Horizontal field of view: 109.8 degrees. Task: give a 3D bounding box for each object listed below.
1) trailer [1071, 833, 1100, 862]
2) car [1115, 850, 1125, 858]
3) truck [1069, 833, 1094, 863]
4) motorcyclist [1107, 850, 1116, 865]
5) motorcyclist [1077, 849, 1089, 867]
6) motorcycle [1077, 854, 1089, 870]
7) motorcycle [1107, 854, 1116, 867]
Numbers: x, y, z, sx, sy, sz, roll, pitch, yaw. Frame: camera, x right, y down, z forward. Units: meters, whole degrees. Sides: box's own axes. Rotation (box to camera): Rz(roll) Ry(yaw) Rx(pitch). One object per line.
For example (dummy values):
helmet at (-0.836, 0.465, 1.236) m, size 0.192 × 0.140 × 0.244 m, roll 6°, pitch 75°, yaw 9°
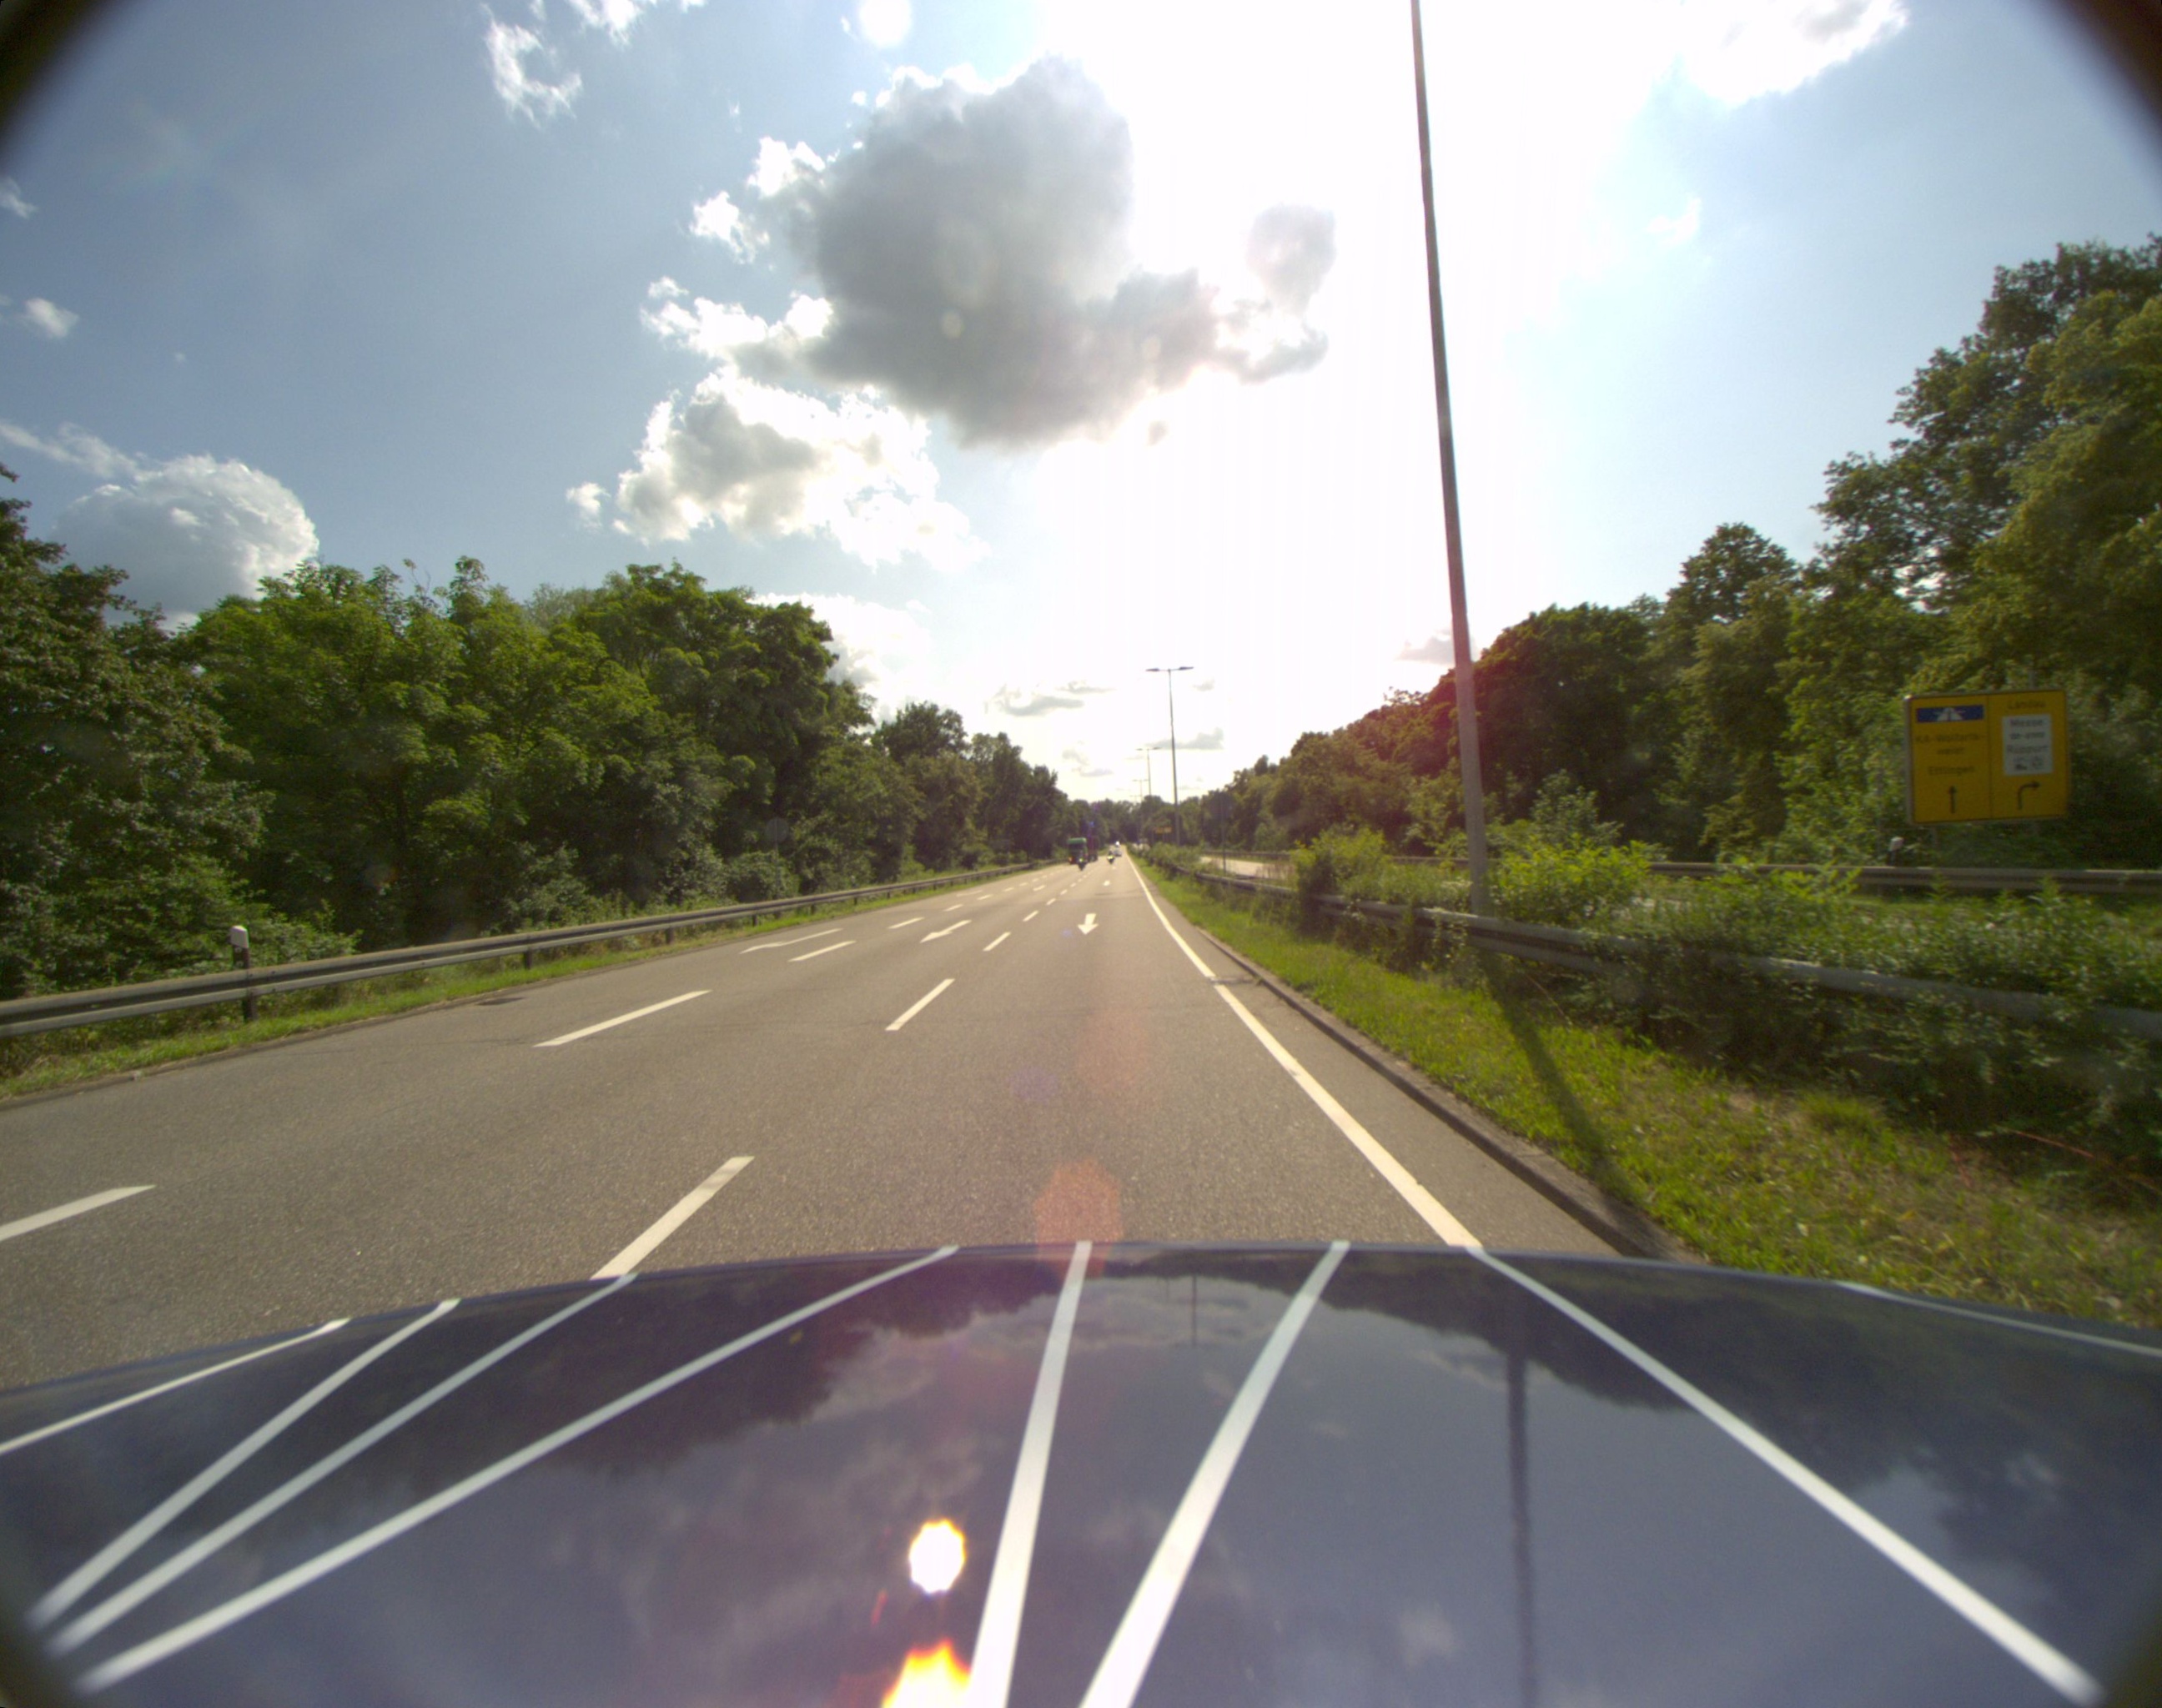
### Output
trailer at (0.827, -0.903, 112.926) m, size 2.590 × 3.871 × 14.508 m, roll -4°, pitch 0°, yaw 7°
car at (7.769, -0.009, 151.330) m, size 1.735 × 1.468 × 4.048 m, roll -2°, pitch 0°, yaw 4°
truck at (0.049, -0.860, 105.980) m, size 2.590 × 3.871 × 6.064 m, roll -4°, pitch 0°, yaw 6°
motorcyclist at (3.466, 0.400, 86.629) m, size 0.867 × 1.690 × 0.895 m, roll -2°, pitch 0°, yaw 5°
motorcyclist at (0.192, 0.343, 68.280) m, size 0.939 × 1.581 × 1.083 m, roll -2°, pitch 0°, yaw 3°
motorcycle at (0.208, 0.690, 68.331) m, size 0.939 × 1.375 × 2.370 m, roll -2°, pitch 0°, yaw 3°
motorcycle at (3.480, 0.717, 86.685) m, size 0.867 × 1.381 × 2.371 m, roll -2°, pitch 0°, yaw 5°
